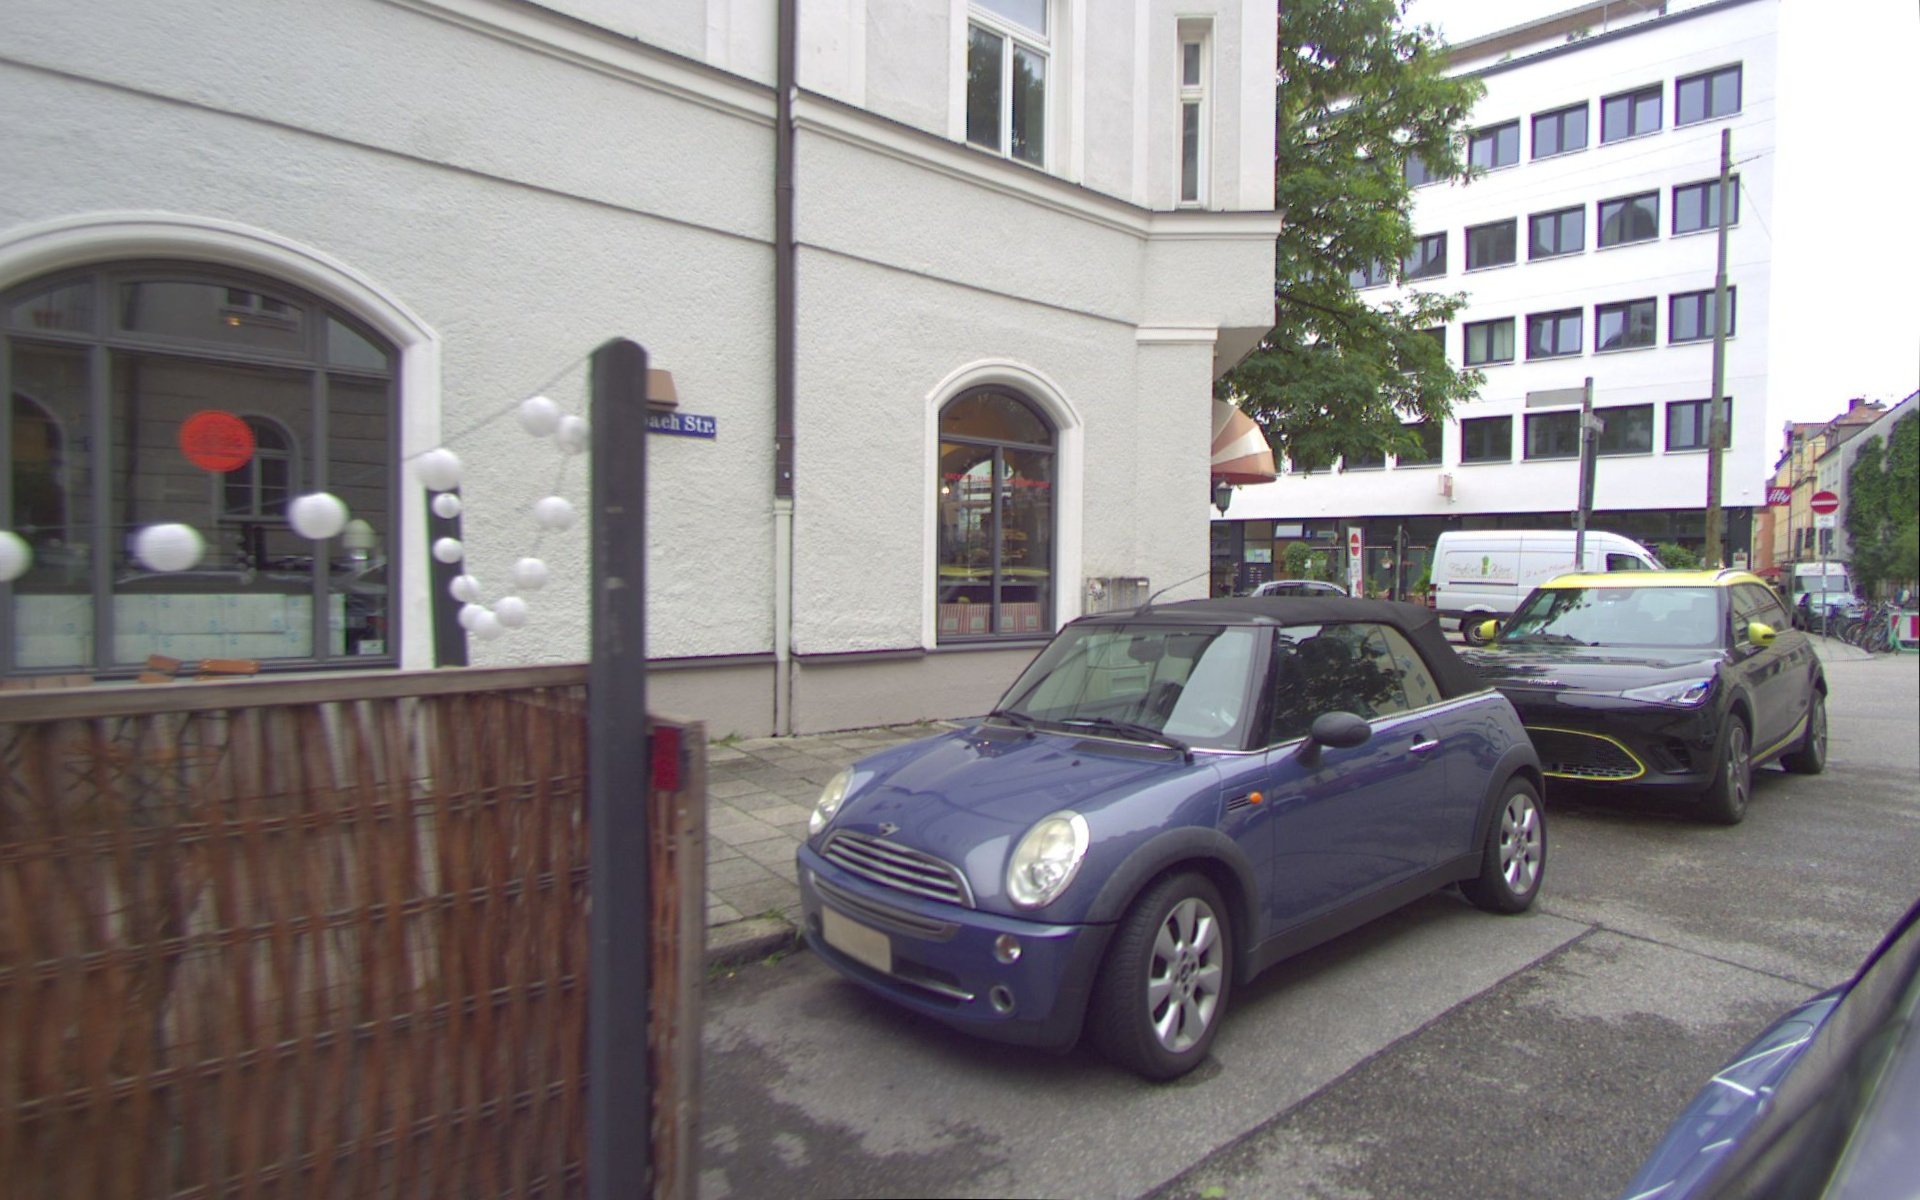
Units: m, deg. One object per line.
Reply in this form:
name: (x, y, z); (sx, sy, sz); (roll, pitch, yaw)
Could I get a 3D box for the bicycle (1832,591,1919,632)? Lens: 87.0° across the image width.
bicycle: (27.162, 0.334, 29.818); (2.169, 1.160, 0.666); (1, 1, 38)

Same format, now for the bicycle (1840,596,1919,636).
bicycle: (25.388, 0.425, 27.517); (2.142, 1.045, 0.962); (1, 1, 38)

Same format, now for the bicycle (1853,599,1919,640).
bicycle: (24.134, 0.501, 25.656); (2.163, 0.976, 0.962); (1, 1, 38)

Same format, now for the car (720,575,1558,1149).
car: (0.944, 0.650, 4.272); (3.431, 1.418, 1.669); (-1, -1, -40)

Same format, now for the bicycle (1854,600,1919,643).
bicycle: (23.394, 0.530, 24.785); (2.166, 0.988, 0.962); (1, 1, 38)

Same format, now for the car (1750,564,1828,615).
car: (36.589, -0.483, 44.783); (1.983, 2.160, 3.959); (1, 1, 29)

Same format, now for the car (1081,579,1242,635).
car: (5.689, 0.177, 28.828); (4.154, 1.408, 1.767); (1, -2, 42)

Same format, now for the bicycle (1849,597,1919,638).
bicycle: (24.769, 0.454, 26.542); (2.094, 1.045, 0.962); (1, 1, 38)

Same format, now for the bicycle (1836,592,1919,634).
bicycle: (26.683, 0.360, 29.230); (2.025, 1.160, 0.660); (1, 1, 38)

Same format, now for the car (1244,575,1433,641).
car: (9.548, 0.181, 25.637); (4.123, 1.505, 1.867); (1, -2, 38)

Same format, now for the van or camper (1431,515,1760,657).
van or camper: (13.827, -0.288, 22.300); (5.848, 2.749, 2.269); (1, -1, 42)

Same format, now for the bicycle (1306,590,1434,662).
bicycle: (7.061, 0.420, 17.532); (0.673, 1.144, 2.011); (0, 1, -36)

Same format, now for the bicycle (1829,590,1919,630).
bicycle: (28.025, 0.297, 30.898); (2.193, 1.160, 0.687); (1, 1, 38)

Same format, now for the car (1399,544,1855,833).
car: (5.244, 0.504, 7.762); (4.022, 1.639, 1.839); (-1, -1, -40)

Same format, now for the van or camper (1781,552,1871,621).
van or camper: (33.978, -0.544, 39.872); (1.953, 2.540, 5.655); (1, 1, 33)

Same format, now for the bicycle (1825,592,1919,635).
bicycle: (26.040, 0.356, 28.730); (2.196, 1.160, 0.730); (1, 1, 38)

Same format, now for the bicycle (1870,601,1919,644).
bicycle: (22.772, 0.531, 23.783); (1.983, 0.976, 0.960); (1, 1, 38)

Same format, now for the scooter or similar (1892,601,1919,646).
scooter or similar: (22.027, 0.540, 22.940); (1.276, 0.988, 0.492); (1, 1, 38)

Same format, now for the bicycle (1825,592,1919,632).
bicycle: (28.376, 0.350, 31.477); (2.195, 1.160, 0.631); (1, 1, 38)

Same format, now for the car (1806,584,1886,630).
car: (29.662, 0.181, 33.964); (1.750, 1.412, 3.946); (1, 1, 38)
